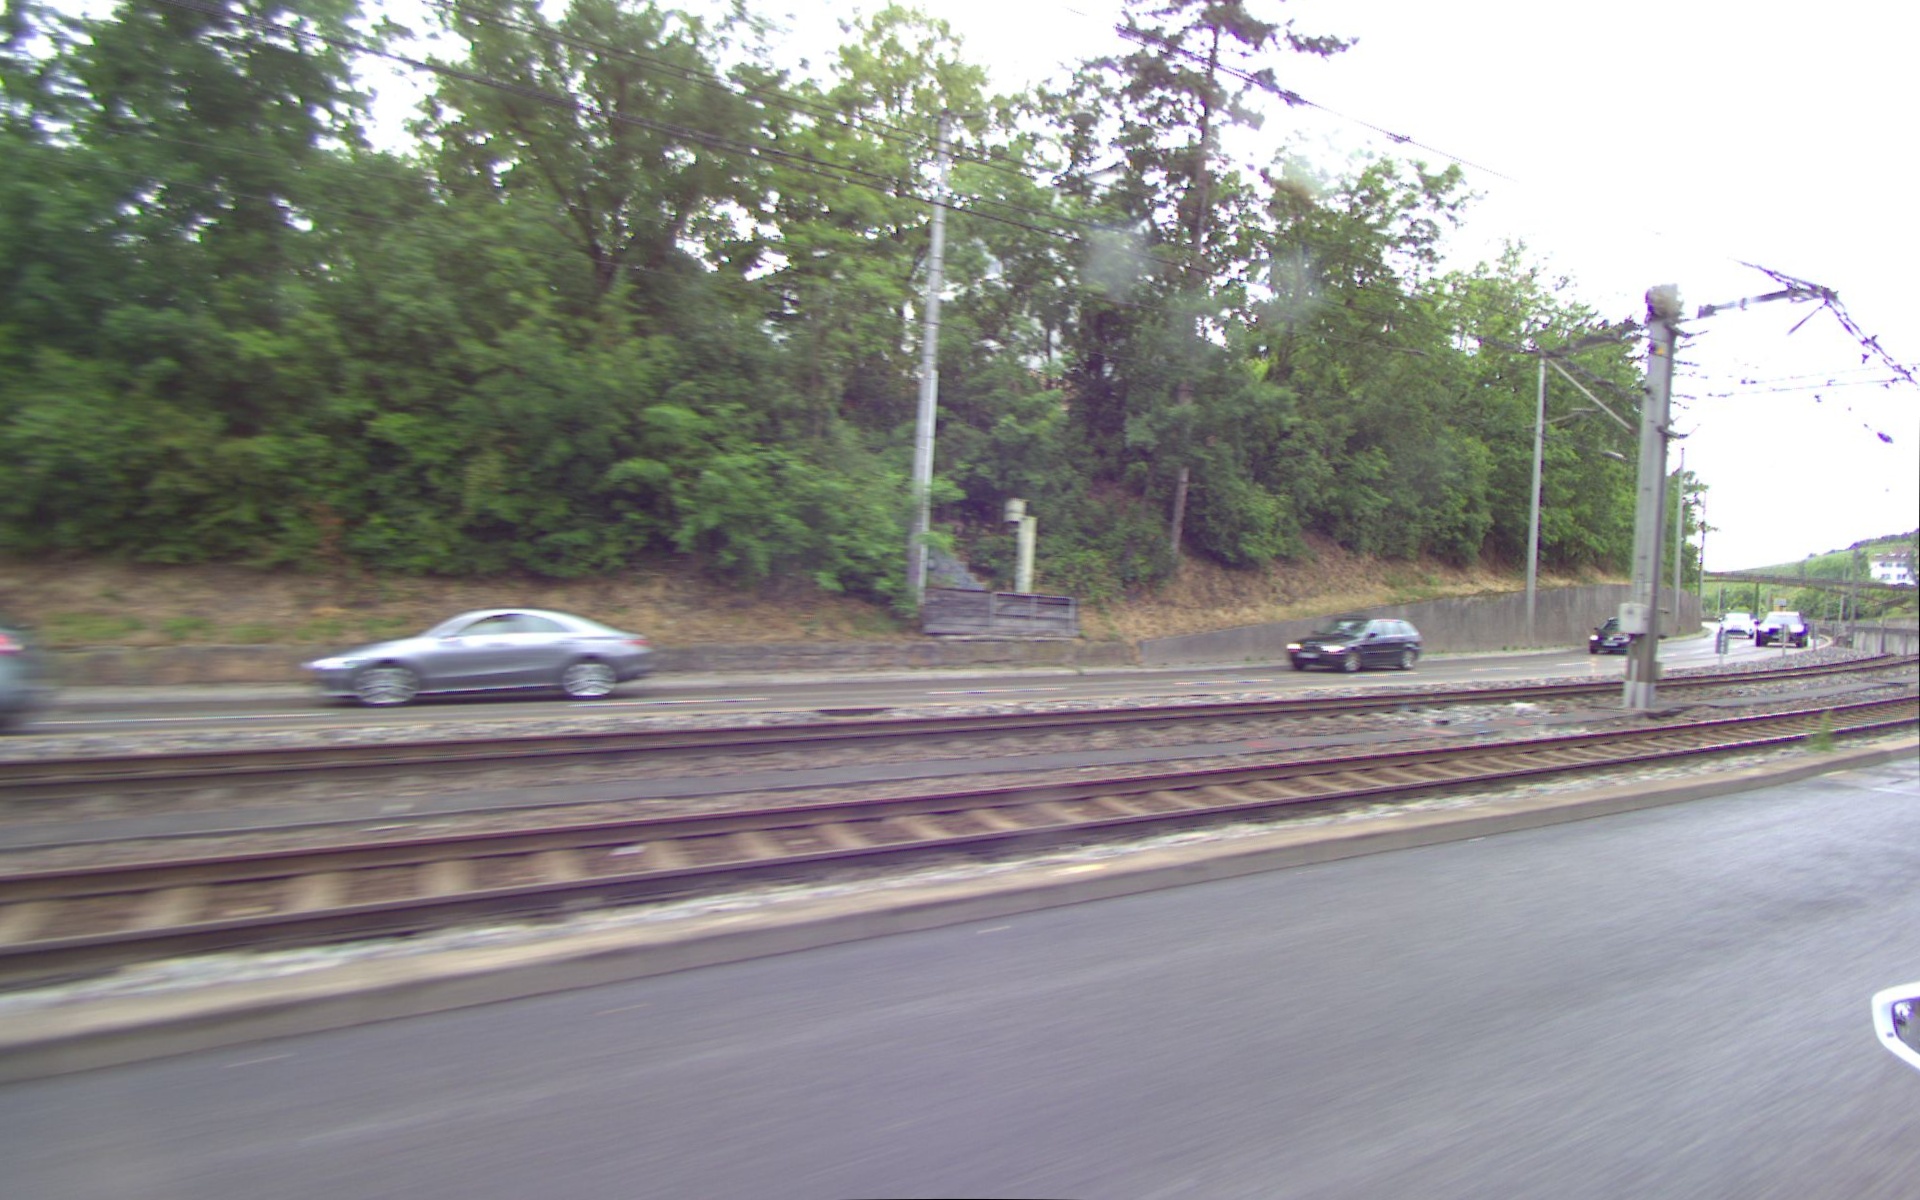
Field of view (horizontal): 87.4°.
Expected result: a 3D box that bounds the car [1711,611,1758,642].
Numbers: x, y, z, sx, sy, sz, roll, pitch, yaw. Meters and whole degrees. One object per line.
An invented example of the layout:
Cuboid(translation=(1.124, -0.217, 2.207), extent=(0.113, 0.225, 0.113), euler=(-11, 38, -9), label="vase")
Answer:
Cuboid(translation=(53.495, 1.834, 69.368), extent=(3.973, 2.040, 1.974), euler=(1, 0, -44), label="car")

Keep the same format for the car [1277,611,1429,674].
Cuboid(translation=(10.559, 1.101, 26.869), extent=(4.535, 1.536, 1.731), euler=(1, -2, -38), label="car")

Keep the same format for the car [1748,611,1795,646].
Cuboid(translation=(43.878, 1.510, 54.306), extent=(1.904, 1.810, 4.431), euler=(0, -1, 39), label="car")

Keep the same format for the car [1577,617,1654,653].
Cuboid(translation=(27.392, 1.440, 41.915), extent=(1.907, 1.433, 4.424), euler=(-1, -2, 44), label="car")

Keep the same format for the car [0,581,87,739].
Cuboid(translation=(-10.890, 0.575, 9.568), extent=(3.576, 1.510, 1.532), euler=(1, -2, -28), label="car")

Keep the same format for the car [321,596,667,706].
Cuboid(translation=(-7.064, 0.747, 15.515), extent=(4.605, 1.481, 1.808), euler=(1, -1, -30), label="car")
